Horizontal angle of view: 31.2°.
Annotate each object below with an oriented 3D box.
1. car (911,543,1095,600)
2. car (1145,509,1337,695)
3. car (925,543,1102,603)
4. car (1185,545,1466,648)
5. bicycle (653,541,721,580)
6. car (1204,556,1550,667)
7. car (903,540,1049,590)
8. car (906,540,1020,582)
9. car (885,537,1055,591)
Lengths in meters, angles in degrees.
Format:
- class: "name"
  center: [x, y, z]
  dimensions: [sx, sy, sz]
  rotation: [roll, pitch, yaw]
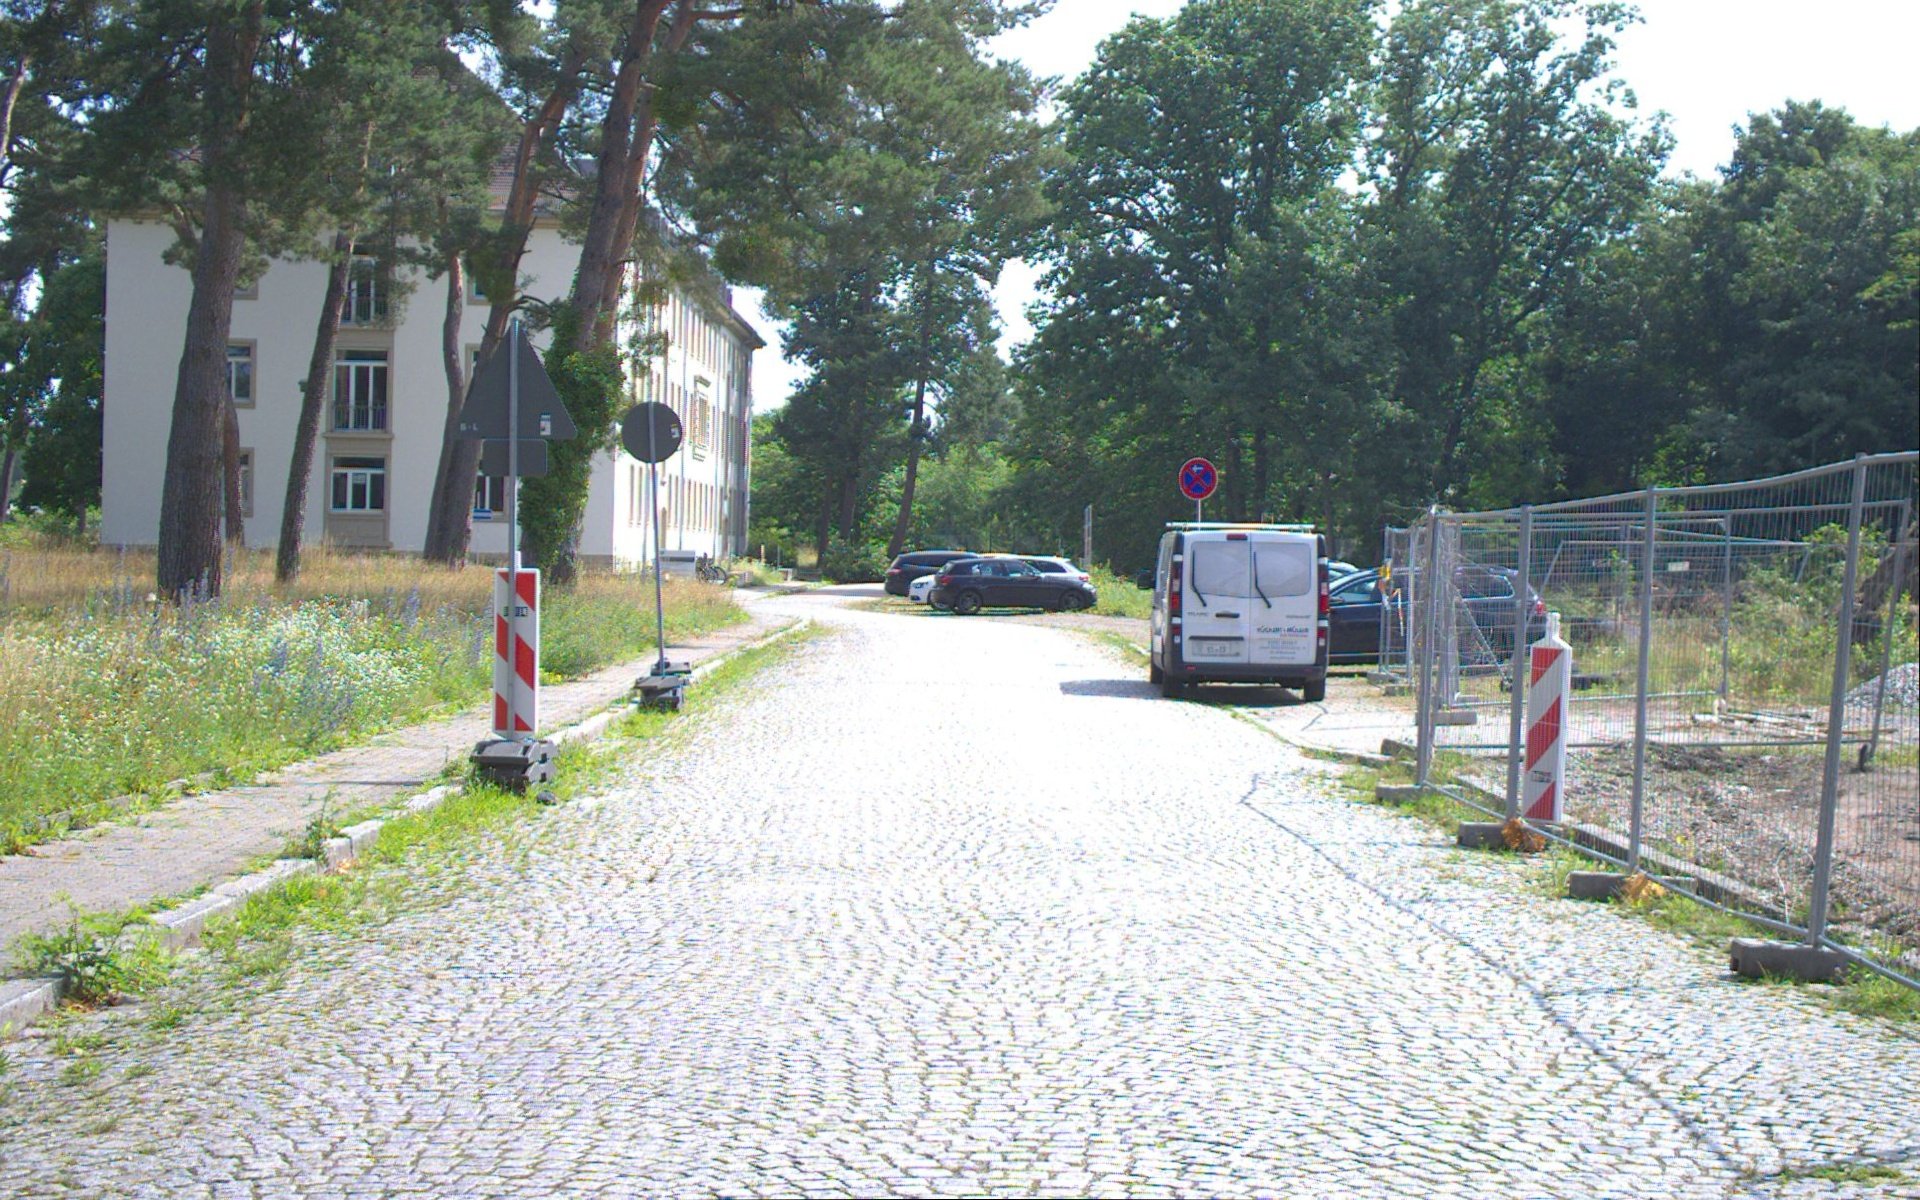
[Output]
- class: "car"
  center: [1.121, -0.780, 91.686]
  dimensions: [4.861, 1.467, 1.875]
  rotation: [0, 2, -1]
- class: "car"
  center: [3.288, -0.012, 41.226]
  dimensions: [1.914, 2.046, 5.679]
  rotation: [1, 1, 1]
- class: "car"
  center: [1.362, -0.708, 88.439]
  dimensions: [4.323, 1.495, 1.830]
  rotation: [0, 2, -8]
- class: "car"
  center: [5.476, -0.069, 51.812]
  dimensions: [3.986, 1.501, 1.747]
  rotation: [0, 1, -2]
- class: "bicycle"
  center: [-9.237, -1.339, 116.223]
  dimensions: [2.222, 1.256, 0.623]
  rotation: [1, 1, 3]
- class: "car"
  center: [5.684, 0.141, 47.161]
  dimensions: [4.453, 1.470, 1.746]
  rotation: [0, 1, -4]
- class: "car"
  center: [0.463, -1.060, 104.352]
  dimensions: [4.398, 1.479, 1.766]
  rotation: [0, 0, -1]
- class: "car"
  center: [0.124, -1.439, 127.168]
  dimensions: [4.187, 1.538, 1.820]
  rotation: [0, 0, 2]
- class: "car"
  center: [0.262, -1.027, 99.117]
  dimensions: [4.852, 1.547, 1.880]
  rotation: [0, 0, -1]
